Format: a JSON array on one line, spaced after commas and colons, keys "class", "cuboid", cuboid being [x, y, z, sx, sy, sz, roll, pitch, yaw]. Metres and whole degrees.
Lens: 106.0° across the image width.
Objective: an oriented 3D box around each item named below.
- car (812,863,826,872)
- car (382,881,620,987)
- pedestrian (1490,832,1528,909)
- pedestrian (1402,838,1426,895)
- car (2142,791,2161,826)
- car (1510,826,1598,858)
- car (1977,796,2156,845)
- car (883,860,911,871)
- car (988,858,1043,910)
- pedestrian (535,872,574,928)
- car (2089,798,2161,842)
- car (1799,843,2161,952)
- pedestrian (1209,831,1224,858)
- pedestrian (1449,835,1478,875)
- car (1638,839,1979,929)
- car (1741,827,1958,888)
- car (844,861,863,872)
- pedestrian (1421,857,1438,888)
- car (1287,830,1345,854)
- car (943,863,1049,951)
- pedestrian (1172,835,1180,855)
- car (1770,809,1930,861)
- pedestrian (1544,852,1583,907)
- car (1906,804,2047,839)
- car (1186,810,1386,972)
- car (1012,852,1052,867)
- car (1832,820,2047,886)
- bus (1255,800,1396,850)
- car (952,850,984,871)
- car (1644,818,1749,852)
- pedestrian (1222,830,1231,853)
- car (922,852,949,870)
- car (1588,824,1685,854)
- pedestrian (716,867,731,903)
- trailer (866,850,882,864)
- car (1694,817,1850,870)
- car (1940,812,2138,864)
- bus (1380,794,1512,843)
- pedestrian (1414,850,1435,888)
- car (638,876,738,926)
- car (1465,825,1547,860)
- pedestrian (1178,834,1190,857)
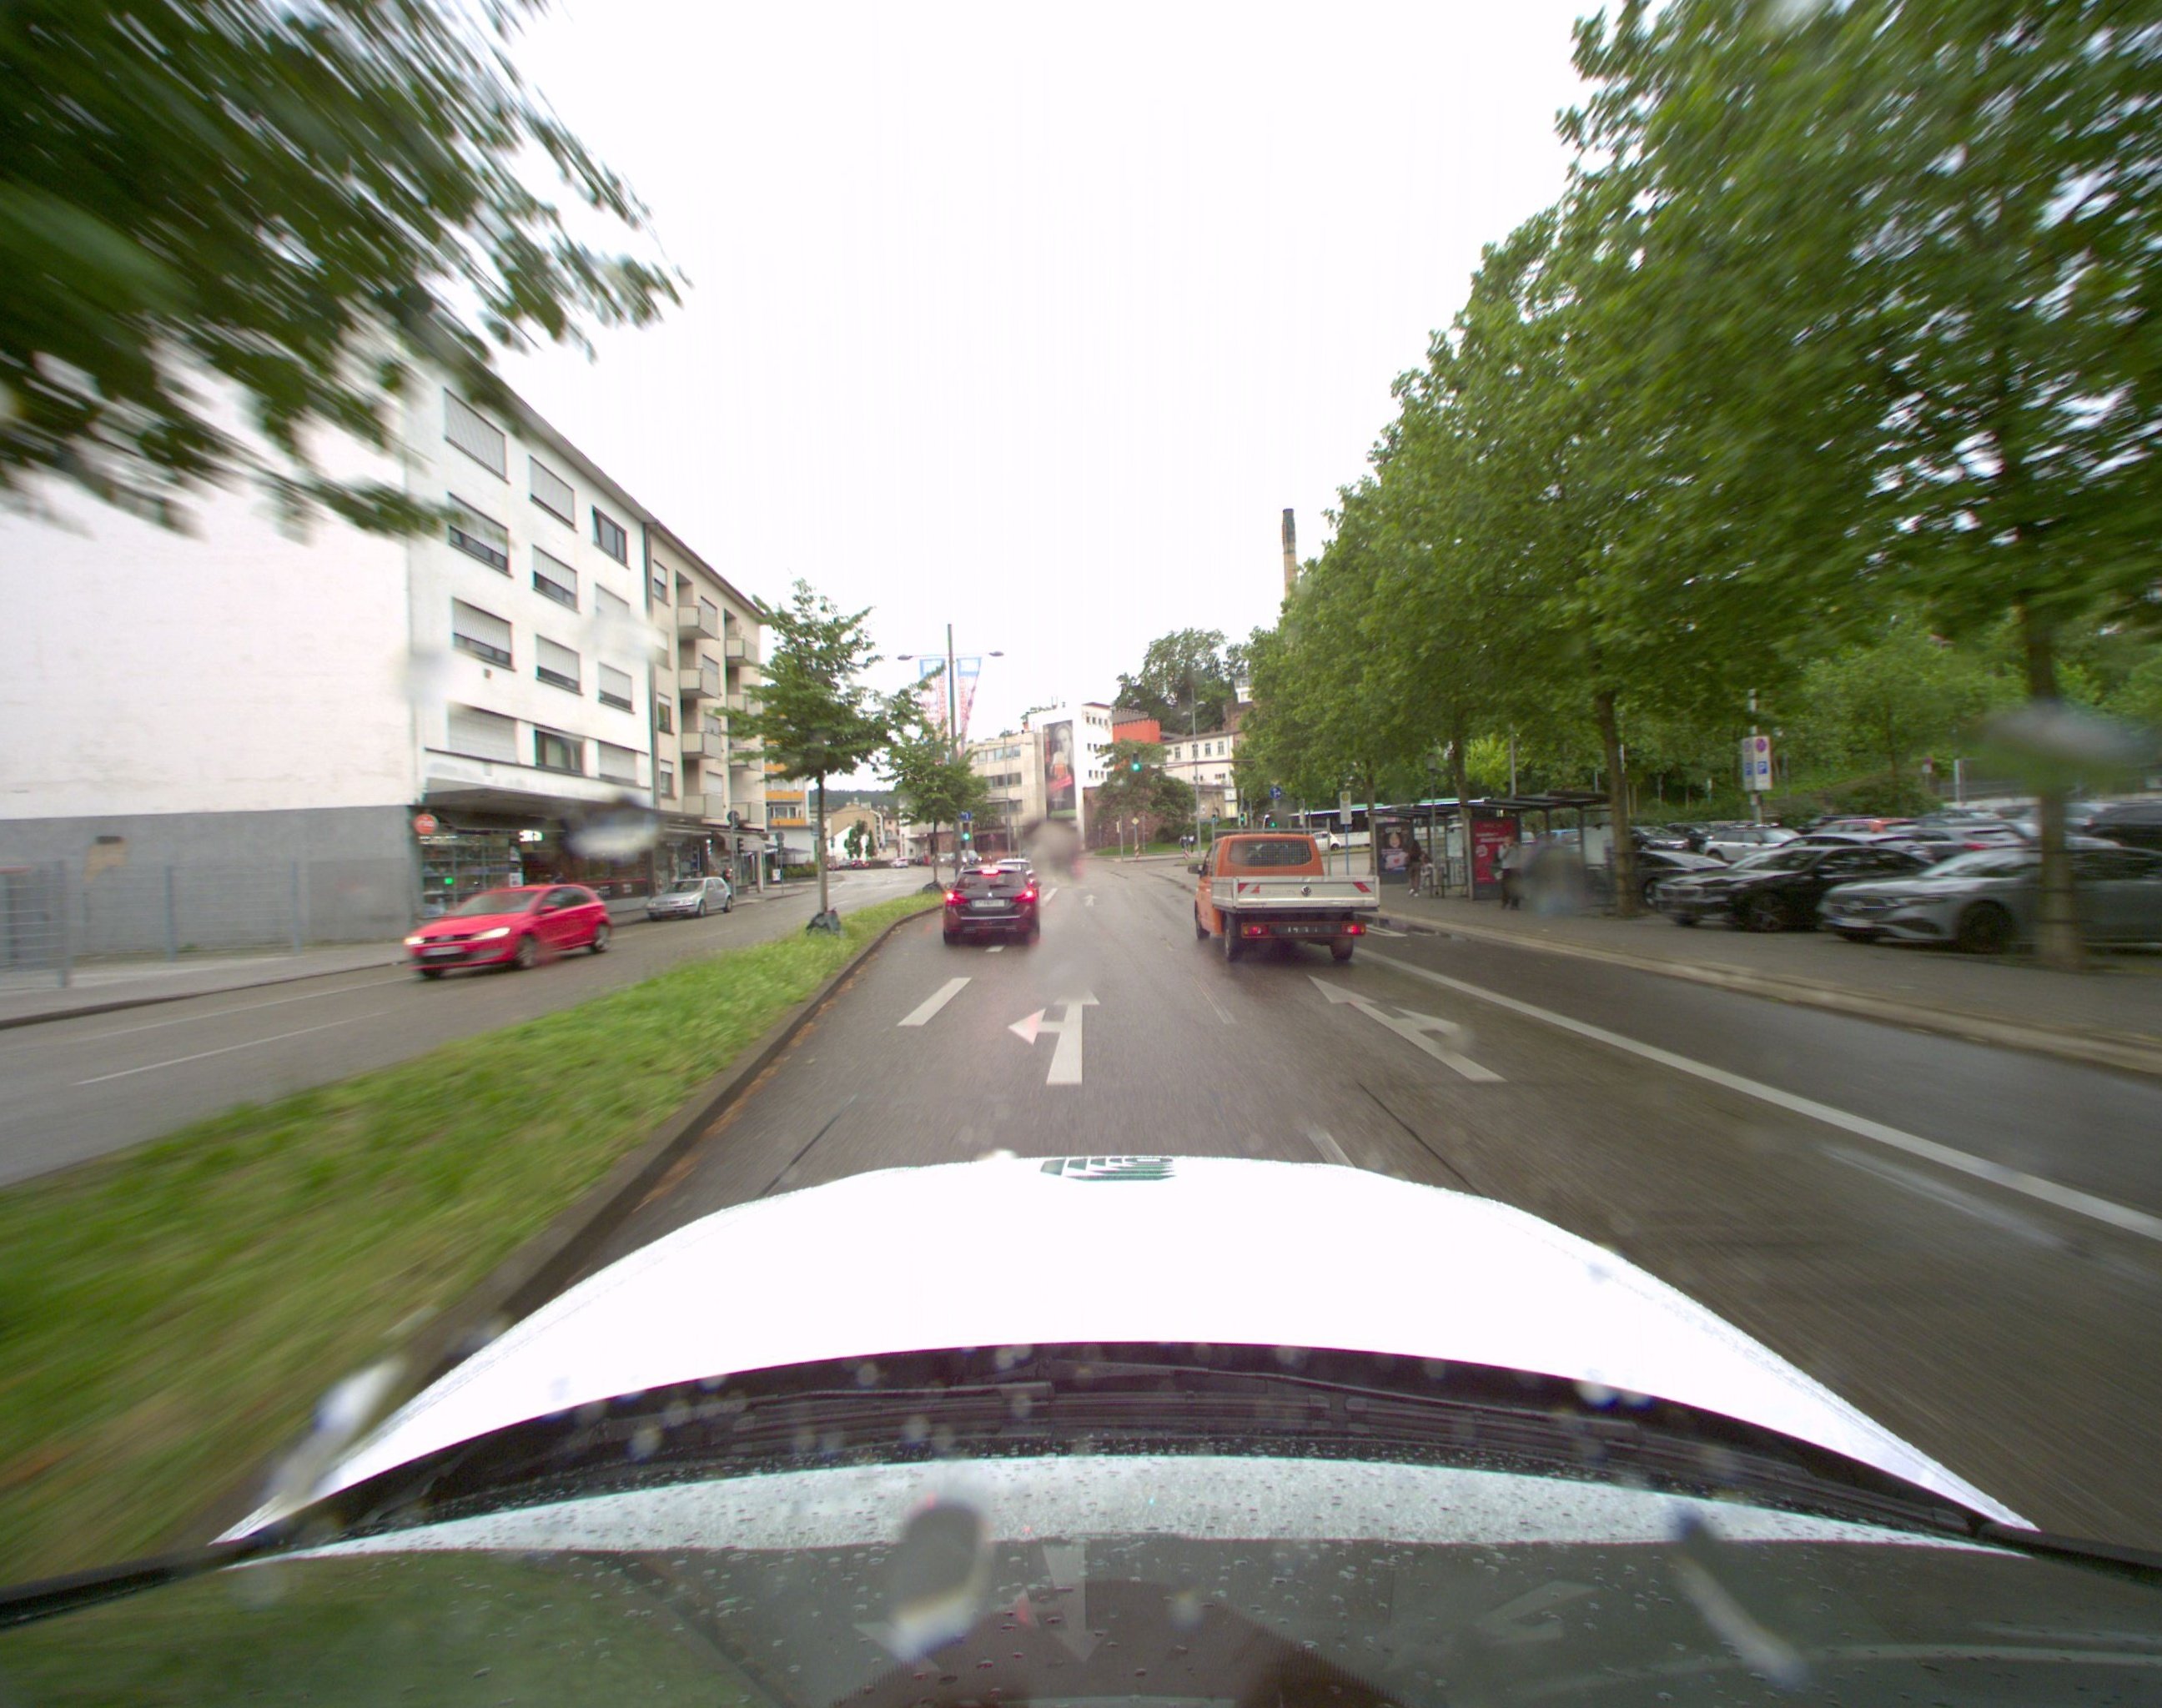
[{"class": "car", "cuboid": [-46.921, 2.350, 145.695, 1.675, 1.396, 3.831, -3, 1, -29]}, {"class": "car", "cuboid": [-10.254, 1.321, 14.803, 1.600, 1.430, 3.939, -5, 0, -4]}, {"class": "pedestrian", "cuboid": [10.436, 0.398, 19.888, 0.725, 1.842, 0.762, -2, -1, 23]}, {"class": "pedestrian", "cuboid": [10.172, 0.381, 24.867, 0.534, 1.695, 0.559, -2, 1, 35]}, {"class": "car", "cuboid": [52.728, -2.194, 37.754, 1.840, 1.675, 4.273, -3, 1, 9]}, {"class": "car", "cuboid": [24.066, -0.599, 41.620, 1.846, 1.440, 4.259, -3, 1, -2]}, {"class": "car", "cuboid": [35.720, -1.191, 29.695, 1.750, 1.566, 4.003, -4, 2, 2]}, {"class": "car", "cuboid": [-24.799, 1.523, 109.734, 3.818, 1.396, 1.680, 0, 2, 43]}, {"class": "car", "cuboid": [-2.095, 0.938, 26.774, 1.533, 1.461, 3.627, -3, 1, -2]}, {"class": "pedestrian", "cuboid": [-16.775, 1.468, 25.959, 0.775, 1.729, 0.660, 1, 1, -1]}, {"class": "car", "cuboid": [32.175, -1.006, 23.541, 1.524, 1.236, 3.630, -4, 2, -2]}, {"class": "car", "cuboid": [13.357, 0.573, 11.548, 4.721, 1.405, 1.863, 0, 0, 1]}, {"class": "pedestrian", "cuboid": [10.497, -0.764, 63.061, 0.777, 2.013, 0.592, -3, 2, 36]}, {"class": "pedestrian", "cuboid": [16.152, 0.047, 34.416, 0.762, 1.632, 0.861, -3, 1, 0]}, {"class": "car", "cuboid": [12.708, 0.502, 14.454, 4.385, 1.484, 1.864, 0, 0, 1]}, {"class": "car", "cuboid": [21.280, 0.024, 22.854, 1.729, 1.440, 4.440, -4, 2, -3]}, {"class": "car", "cuboid": [-33.747, 1.838, 120.821, 1.677, 1.396, 3.827, -3, 2, -33]}, {"class": "pedestrian", "cuboid": [11.932, 0.633, 27.894, 0.399, 1.034, 0.370, -3, 1, 1]}, {"class": "car", "cuboid": [16.429, -0.865, 57.011, 3.548, 1.451, 1.589, -3, 2, -2]}, {"class": "car", "cuboid": [-1.740, 0.937, 16.293, 1.798, 1.434, 4.385, -2, 0, -7]}, {"class": "pedestrian", "cuboid": [7.770, -0.764, 66.389, 0.563, 1.616, 0.692, -1, -1, 4]}, {"class": "car", "cuboid": [26.834, -0.672, 28.618, 1.753, 1.590, 3.997, -4, 2, -2]}, {"class": "pedestrian", "cuboid": [11.925, 0.629, 20.139, 0.627, 1.322, 0.628, -2, -1, 12]}, {"class": "car", "cuboid": [41.830, -1.496, 38.201, 1.846, 1.440, 4.259, -3, 1, -2]}, {"class": "car", "cuboid": [3.075, 0.503, 13.603, 2.093, 2.089, 5.544, -2, 0, 2]}, {"class": "car", "cuboid": [-4.832, 0.555, 79.301, 1.802, 1.403, 4.584, 0, -1, -34]}, {"class": "car", "cuboid": [23.912, -0.080, 22.931, 1.753, 1.590, 3.997, -4, 2, -2]}, {"class": "bus", "cuboid": [18.026, -2.164, 60.435, 9.599, 3.216, 2.704, -3, 2, -1]}, {"class": "car", "cuboid": [-10.033, 0.566, 71.896, 1.763, 1.614, 4.180, -4, 1, -22]}, {"class": "car", "cuboid": [30.241, -0.921, 40.198, 1.846, 1.480, 4.259, -3, 1, -2]}, {"class": "pedestrian", "cuboid": [11.278, -0.972, 63.115, 0.552, 1.705, 0.530, -4, 2, 11]}, {"class": "car", "cuboid": [-14.723, 0.719, 82.510, 1.763, 1.614, 4.180, -4, 1, -22]}, {"class": "car", "cuboid": [27.960, -0.754, 41.177, 1.846, 1.354, 4.259, -3, 1, -2]}, {"class": "pedestrian", "cuboid": [-17.390, 1.497, 39.632, 0.450, 1.730, 0.524, 1, 1, 1]}, {"class": "trailer", "cuboid": [-44.079, 0.625, 173.302, 2.139, 2.715, 5.344, -5, 1, -26]}, {"class": "car", "cuboid": [23.939, -0.393, 28.444, 1.753, 1.590, 4.174, -4, 2, -2]}, {"class": "car", "cuboid": [26.648, -0.460, 22.816, 1.524, 1.236, 3.353, -4, 2, -2]}, {"class": "bus", "cuboid": [27.016, -2.642, 60.489, 8.503, 3.179, 2.688, -3, 2, 0]}, {"class": "pedestrian", "cuboid": [11.961, 0.517, 28.356, 0.497, 1.271, 0.402, -3, 1, 1]}, {"class": "car", "cuboid": [-14.031, 1.628, 29.348, 1.672, 1.391, 4.147, -5, 1, -3]}, {"class": "car", "cuboid": [21.441, -0.586, 41.283, 1.795, 1.612, 4.259, -3, 1, -2]}, {"class": "pedestrian", "cuboid": [8.390, -0.723, 66.459, 0.876, 1.831, 0.729, -2, 0, 2]}]
